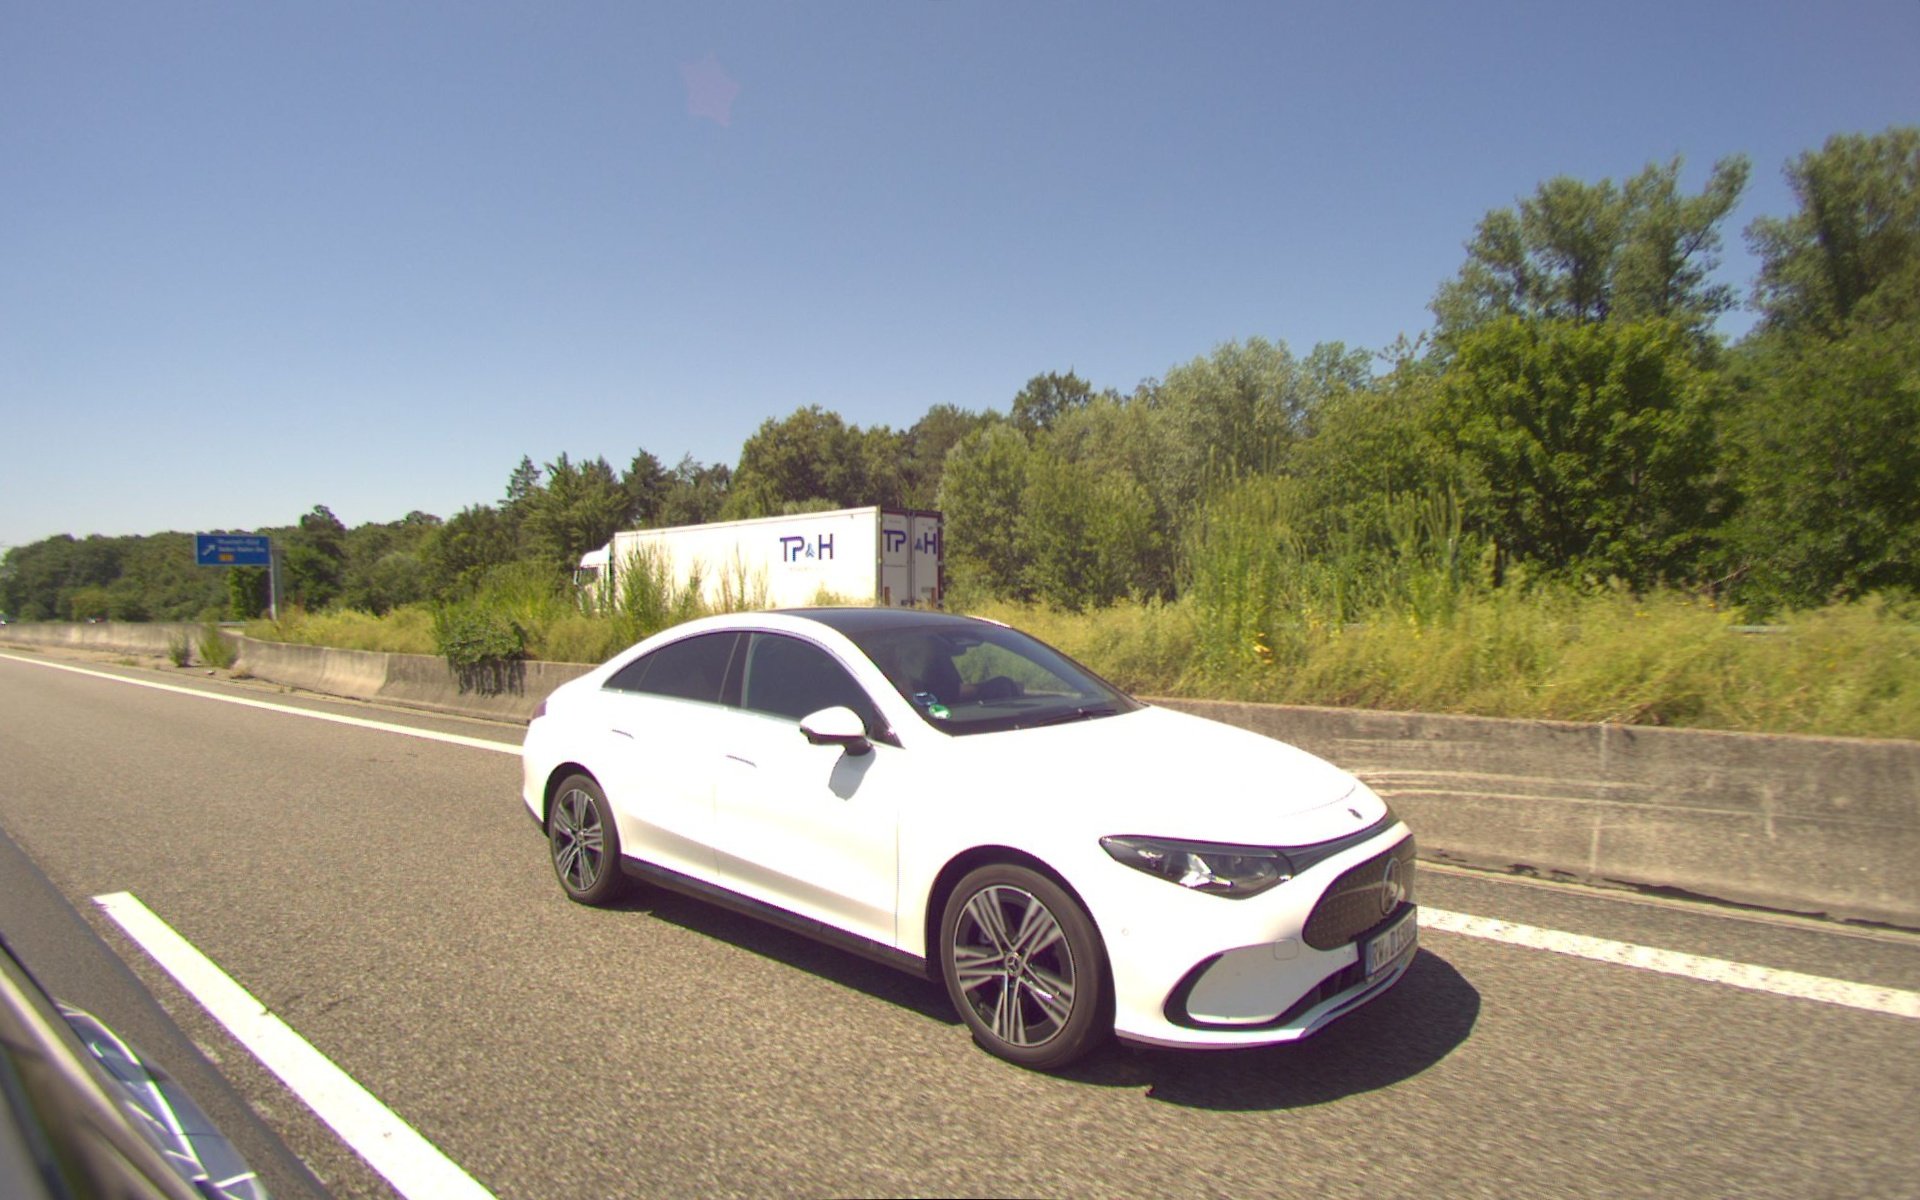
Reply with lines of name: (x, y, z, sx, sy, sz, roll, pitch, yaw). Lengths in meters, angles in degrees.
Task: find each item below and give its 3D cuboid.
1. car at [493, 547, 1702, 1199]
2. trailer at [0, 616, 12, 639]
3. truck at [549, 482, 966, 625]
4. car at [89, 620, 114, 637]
car: (-0.043, 0.712, 4.399, 5.106, 1.459, 1.748, -2, -2, 42)
trailer: (-176.575, 5.068, 185.525, 10.424, 4.077, 2.779, -2, 3, 41)
truck: (-7.654, -1.105, 33.784, 17.472, 3.763, 3.562, -1, 0, 40)
car: (-111.138, 3.667, 131.032, 4.429, 2.029, 1.972, -2, 0, 43)
